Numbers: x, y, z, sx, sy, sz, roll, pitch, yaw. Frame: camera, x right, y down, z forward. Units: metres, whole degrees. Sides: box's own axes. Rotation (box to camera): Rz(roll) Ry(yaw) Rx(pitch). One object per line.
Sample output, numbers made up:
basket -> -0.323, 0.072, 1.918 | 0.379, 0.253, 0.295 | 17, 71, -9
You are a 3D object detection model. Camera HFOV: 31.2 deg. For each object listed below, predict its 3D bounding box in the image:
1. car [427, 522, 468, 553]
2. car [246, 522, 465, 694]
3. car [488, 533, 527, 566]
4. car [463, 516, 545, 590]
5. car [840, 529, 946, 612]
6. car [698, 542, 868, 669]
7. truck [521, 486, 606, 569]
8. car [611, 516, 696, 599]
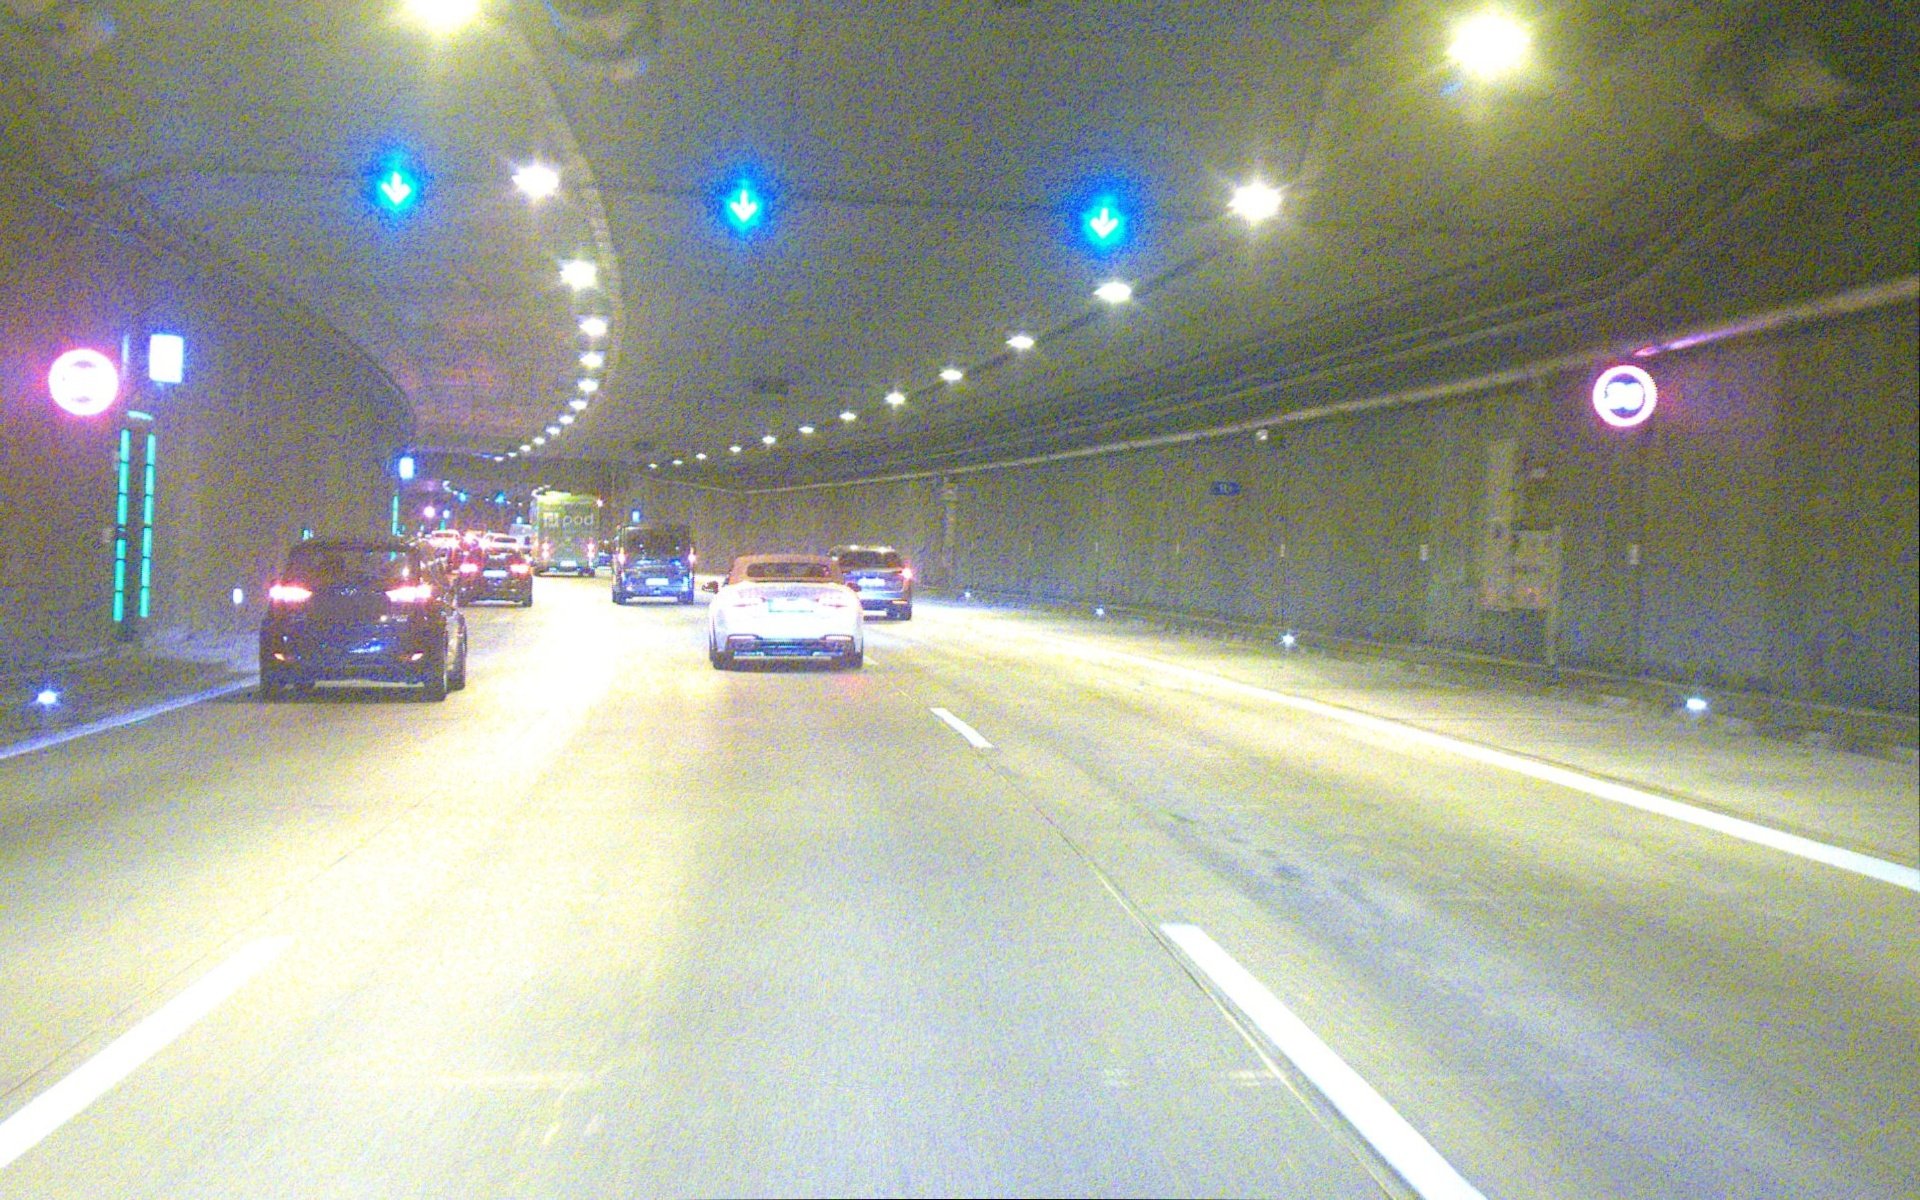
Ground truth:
car -> -25.990, -3.162, 174.327 | 1.993, 1.525, 4.001 | 1, 0, -8
car -> -5.917, 0.044, 33.992 | 1.785, 1.593, 3.802 | 0, 1, -5
car -> -24.718, -2.745, 187.986 | 1.993, 1.748, 4.001 | 1, 0, -6
car -> -10.695, -1.093, 80.869 | 1.800, 1.678, 4.001 | 1, 1, -6
car -> -1.381, -0.603, 69.150 | 1.839, 1.597, 4.001 | 1, 1, -5
car -> -2.237, 0.032, 42.577 | 1.993, 1.478, 4.001 | 1, 1, -4
truck -> -15.810, -2.930, 136.569 | 3.082, 3.102, 10.032 | 1, 2, -8
car -> -7.461, -1.032, 83.450 | 1.993, 1.965, 4.001 | 0, 1, -6
